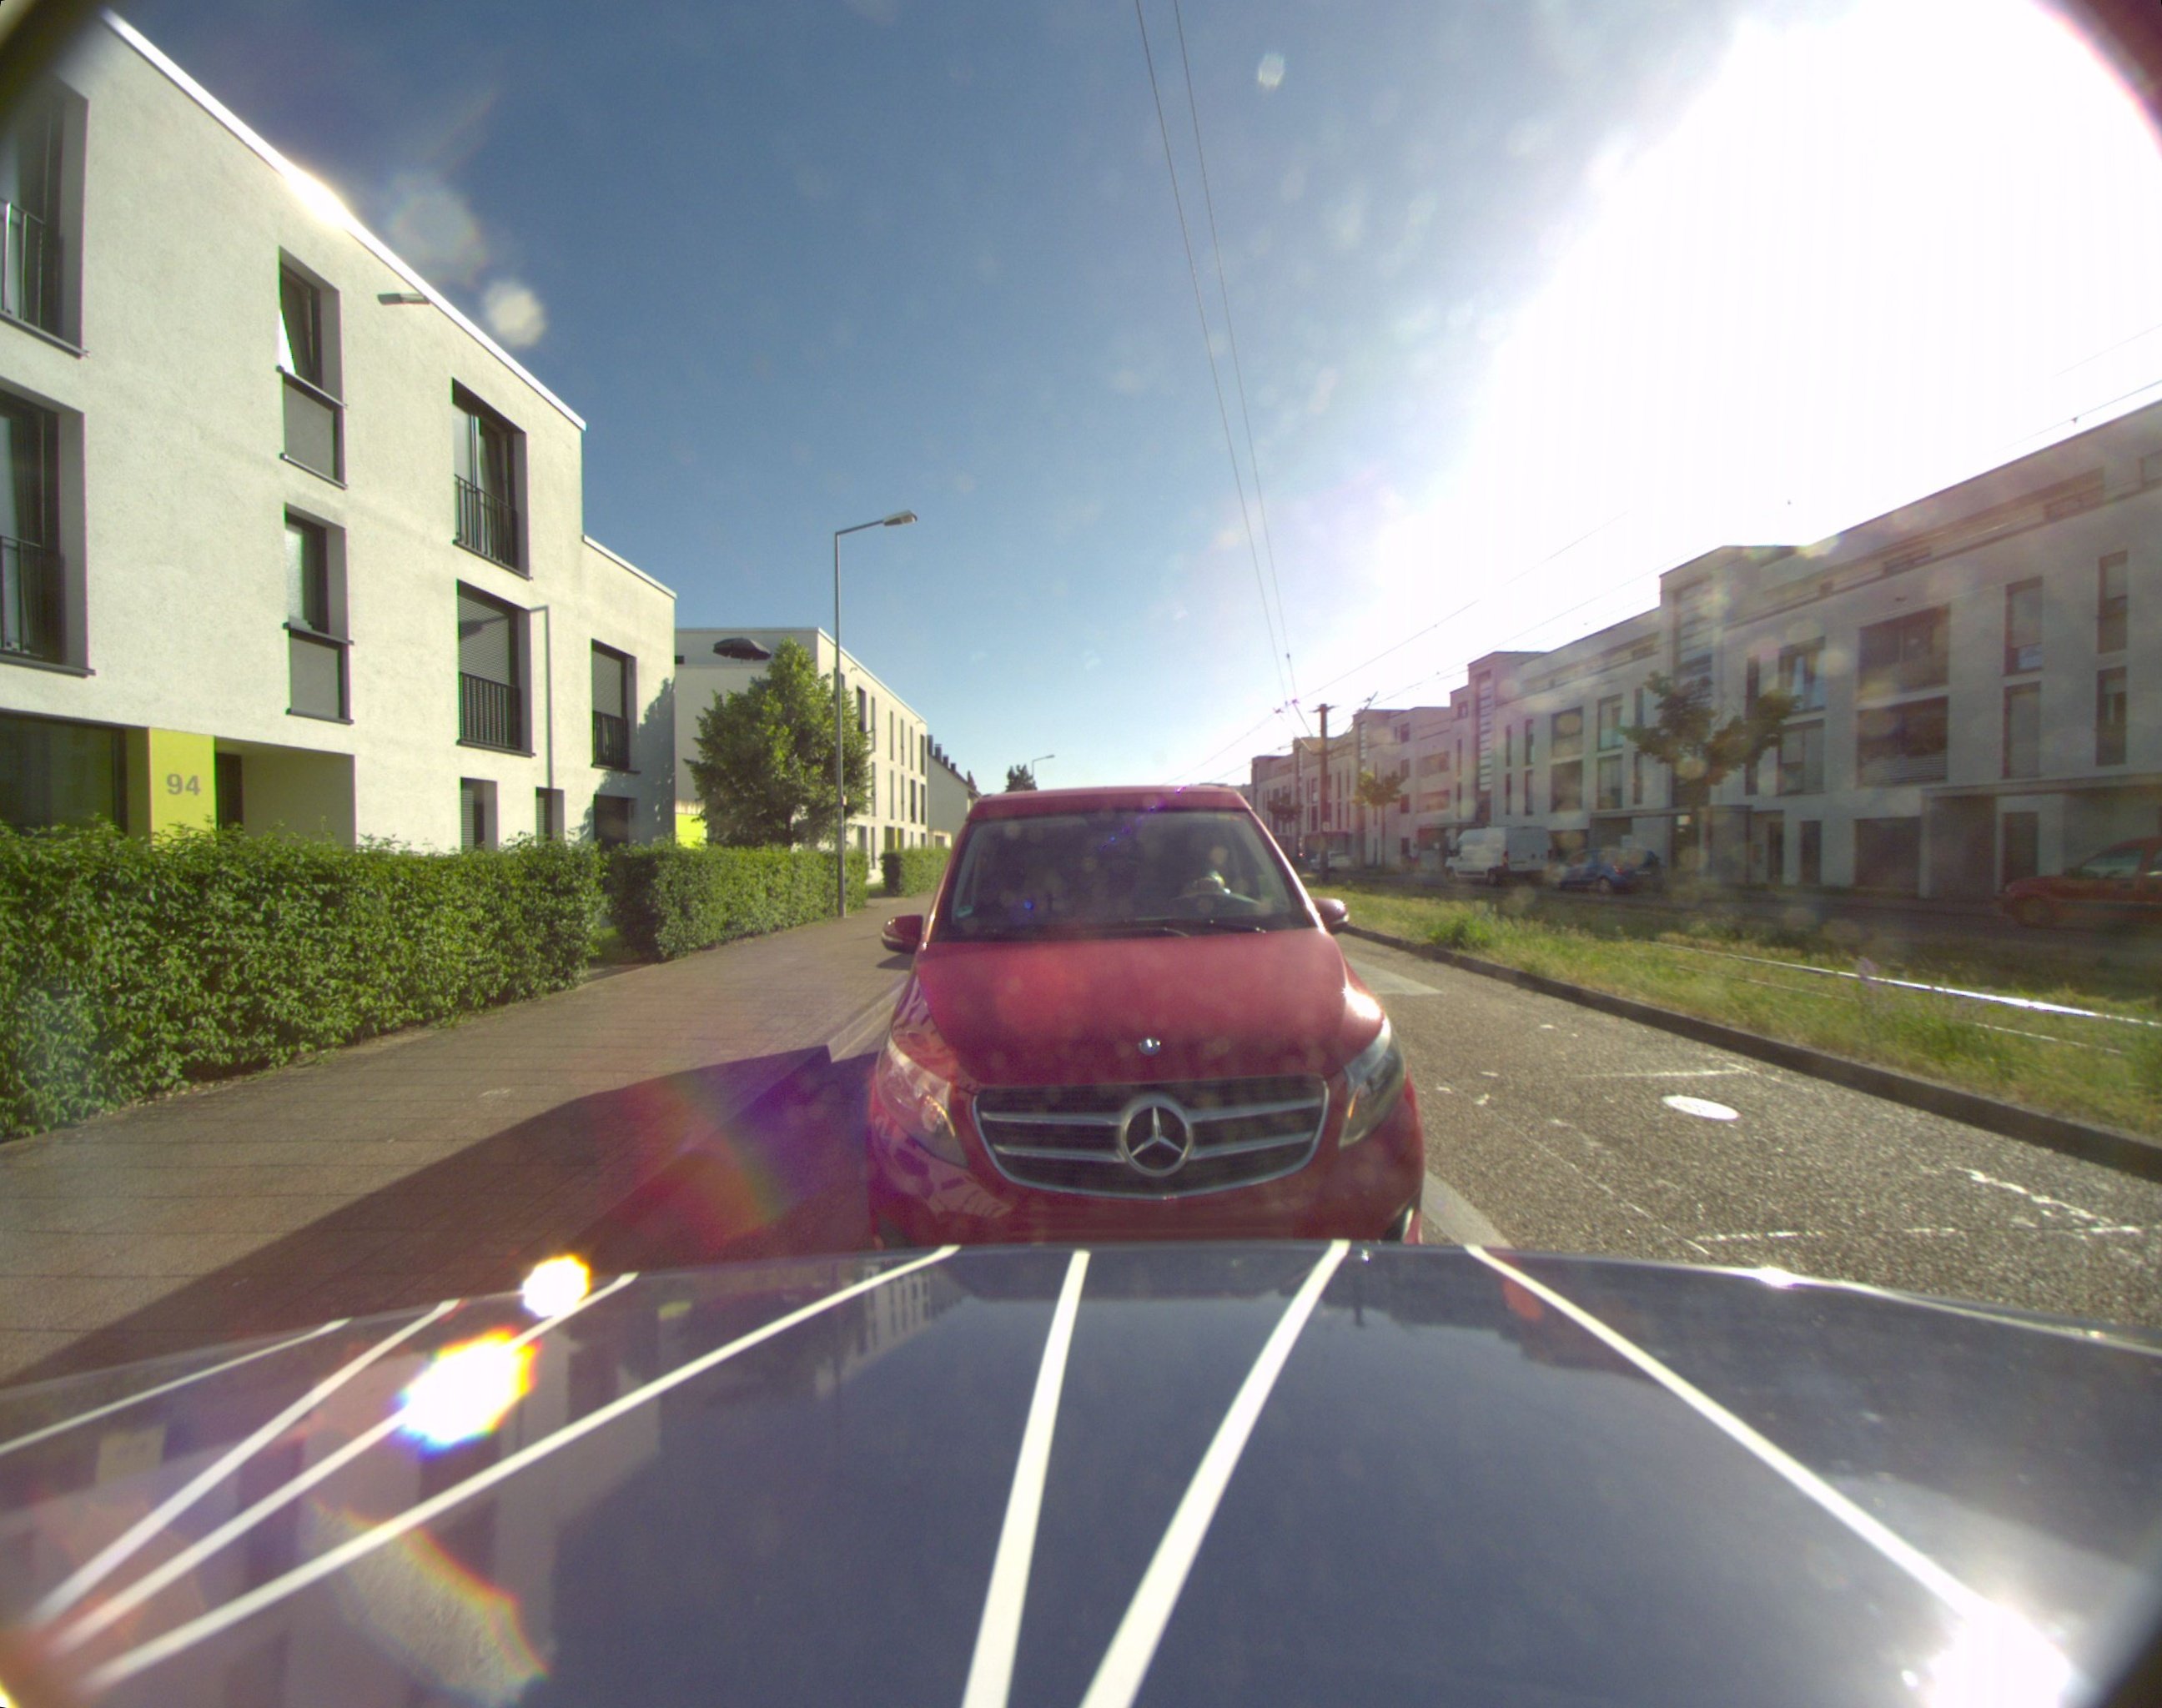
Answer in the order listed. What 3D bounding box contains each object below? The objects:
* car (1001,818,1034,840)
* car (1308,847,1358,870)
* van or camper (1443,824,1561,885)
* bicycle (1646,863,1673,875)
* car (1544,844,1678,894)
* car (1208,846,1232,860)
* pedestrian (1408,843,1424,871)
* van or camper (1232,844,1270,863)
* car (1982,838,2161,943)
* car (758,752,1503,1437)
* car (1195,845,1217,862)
[{"bbox_3d":[-7.312,-2.871,88.309,3.182,2.333,6.174,-2,1,1],"label":"car"},{"bbox_3d":[17.750,0.277,53.737,2.047,1.577,4.119,0,1,-3],"label":"car"},{"bbox_3d":[18.163,-0.017,33.157,2.197,2.451,5.259,0,1,0],"label":"van or camper"},{"bbox_3d":[24.913,0.659,32.725,0.354,0.495,1.061,0,0,-1],"label":"bicycle"},{"bbox_3d":[18.253,0.467,26.410,1.934,1.604,3.835,0,1,0],"label":"car"},{"bbox_3d":[15.793,-0.118,86.570,1.867,1.430,3.496,-2,0,-4],"label":"car"},{"bbox_3d":[20.047,0.173,45.436,0.619,1.634,0.612,-2,1,-7],"label":"pedestrian"},{"bbox_3d":[16.764,-0.093,75.222,2.273,1.838,6.284,-1,1,-1],"label":"van or camper"},{"bbox_3d":[18.469,0.605,12.848,1.793,1.713,3.908,1,1,1],"label":"car"},{"bbox_3d":[0.184,0.703,4.779,2.127,1.958,5.083,-2,0,1],"label":"car"},{"bbox_3d":[15.384,-0.108,93.872,1.788,2.002,3.998,-2,1,-4],"label":"car"}]
